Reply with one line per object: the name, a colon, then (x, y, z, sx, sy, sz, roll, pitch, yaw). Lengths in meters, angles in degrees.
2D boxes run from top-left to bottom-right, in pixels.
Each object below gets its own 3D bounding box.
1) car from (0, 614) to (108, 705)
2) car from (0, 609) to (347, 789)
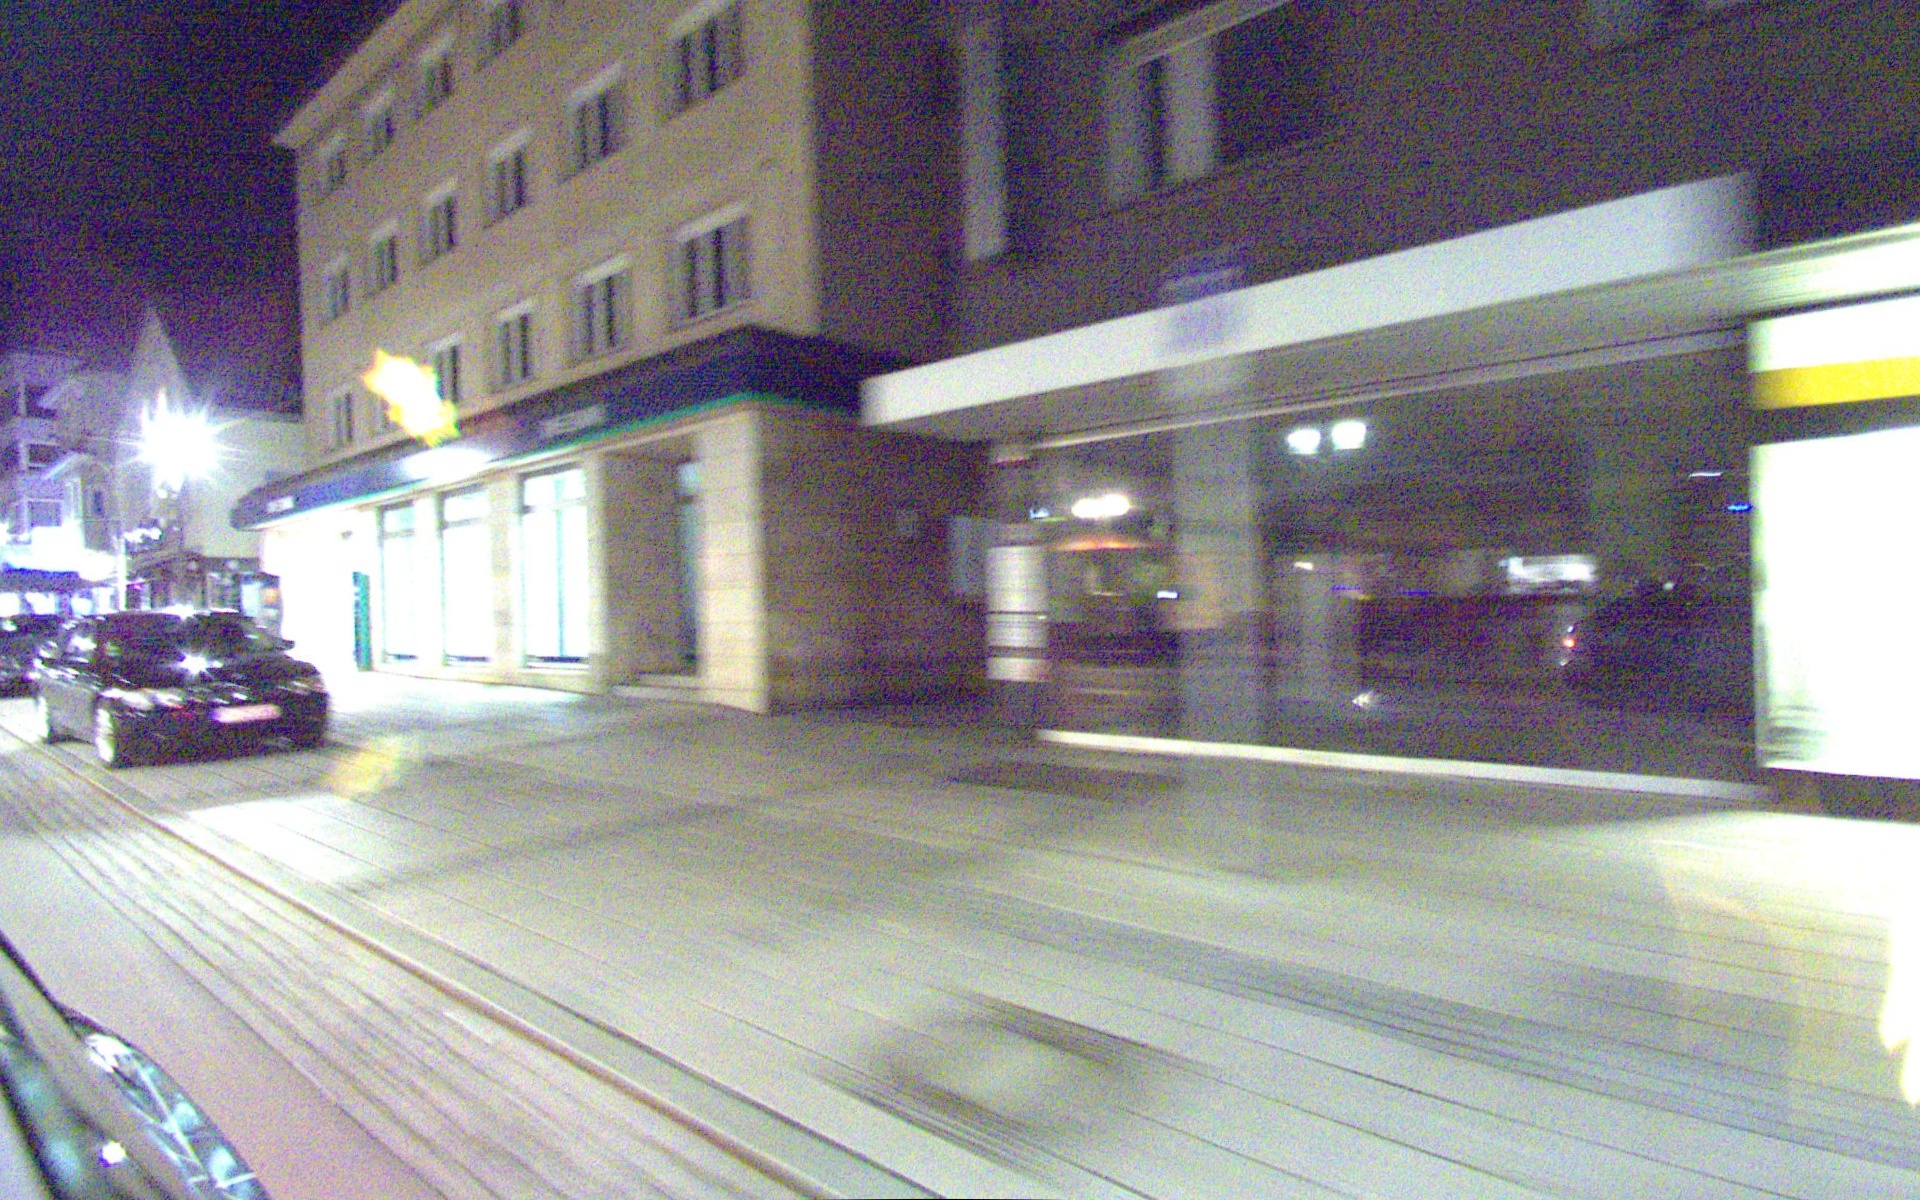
car: (-17.477, 1.045, 18.613, 4.518, 1.481, 1.882, -1, 0, 38)
car: (-8.512, 0.898, 10.794, 4.616, 1.475, 1.828, -1, 1, 38)
